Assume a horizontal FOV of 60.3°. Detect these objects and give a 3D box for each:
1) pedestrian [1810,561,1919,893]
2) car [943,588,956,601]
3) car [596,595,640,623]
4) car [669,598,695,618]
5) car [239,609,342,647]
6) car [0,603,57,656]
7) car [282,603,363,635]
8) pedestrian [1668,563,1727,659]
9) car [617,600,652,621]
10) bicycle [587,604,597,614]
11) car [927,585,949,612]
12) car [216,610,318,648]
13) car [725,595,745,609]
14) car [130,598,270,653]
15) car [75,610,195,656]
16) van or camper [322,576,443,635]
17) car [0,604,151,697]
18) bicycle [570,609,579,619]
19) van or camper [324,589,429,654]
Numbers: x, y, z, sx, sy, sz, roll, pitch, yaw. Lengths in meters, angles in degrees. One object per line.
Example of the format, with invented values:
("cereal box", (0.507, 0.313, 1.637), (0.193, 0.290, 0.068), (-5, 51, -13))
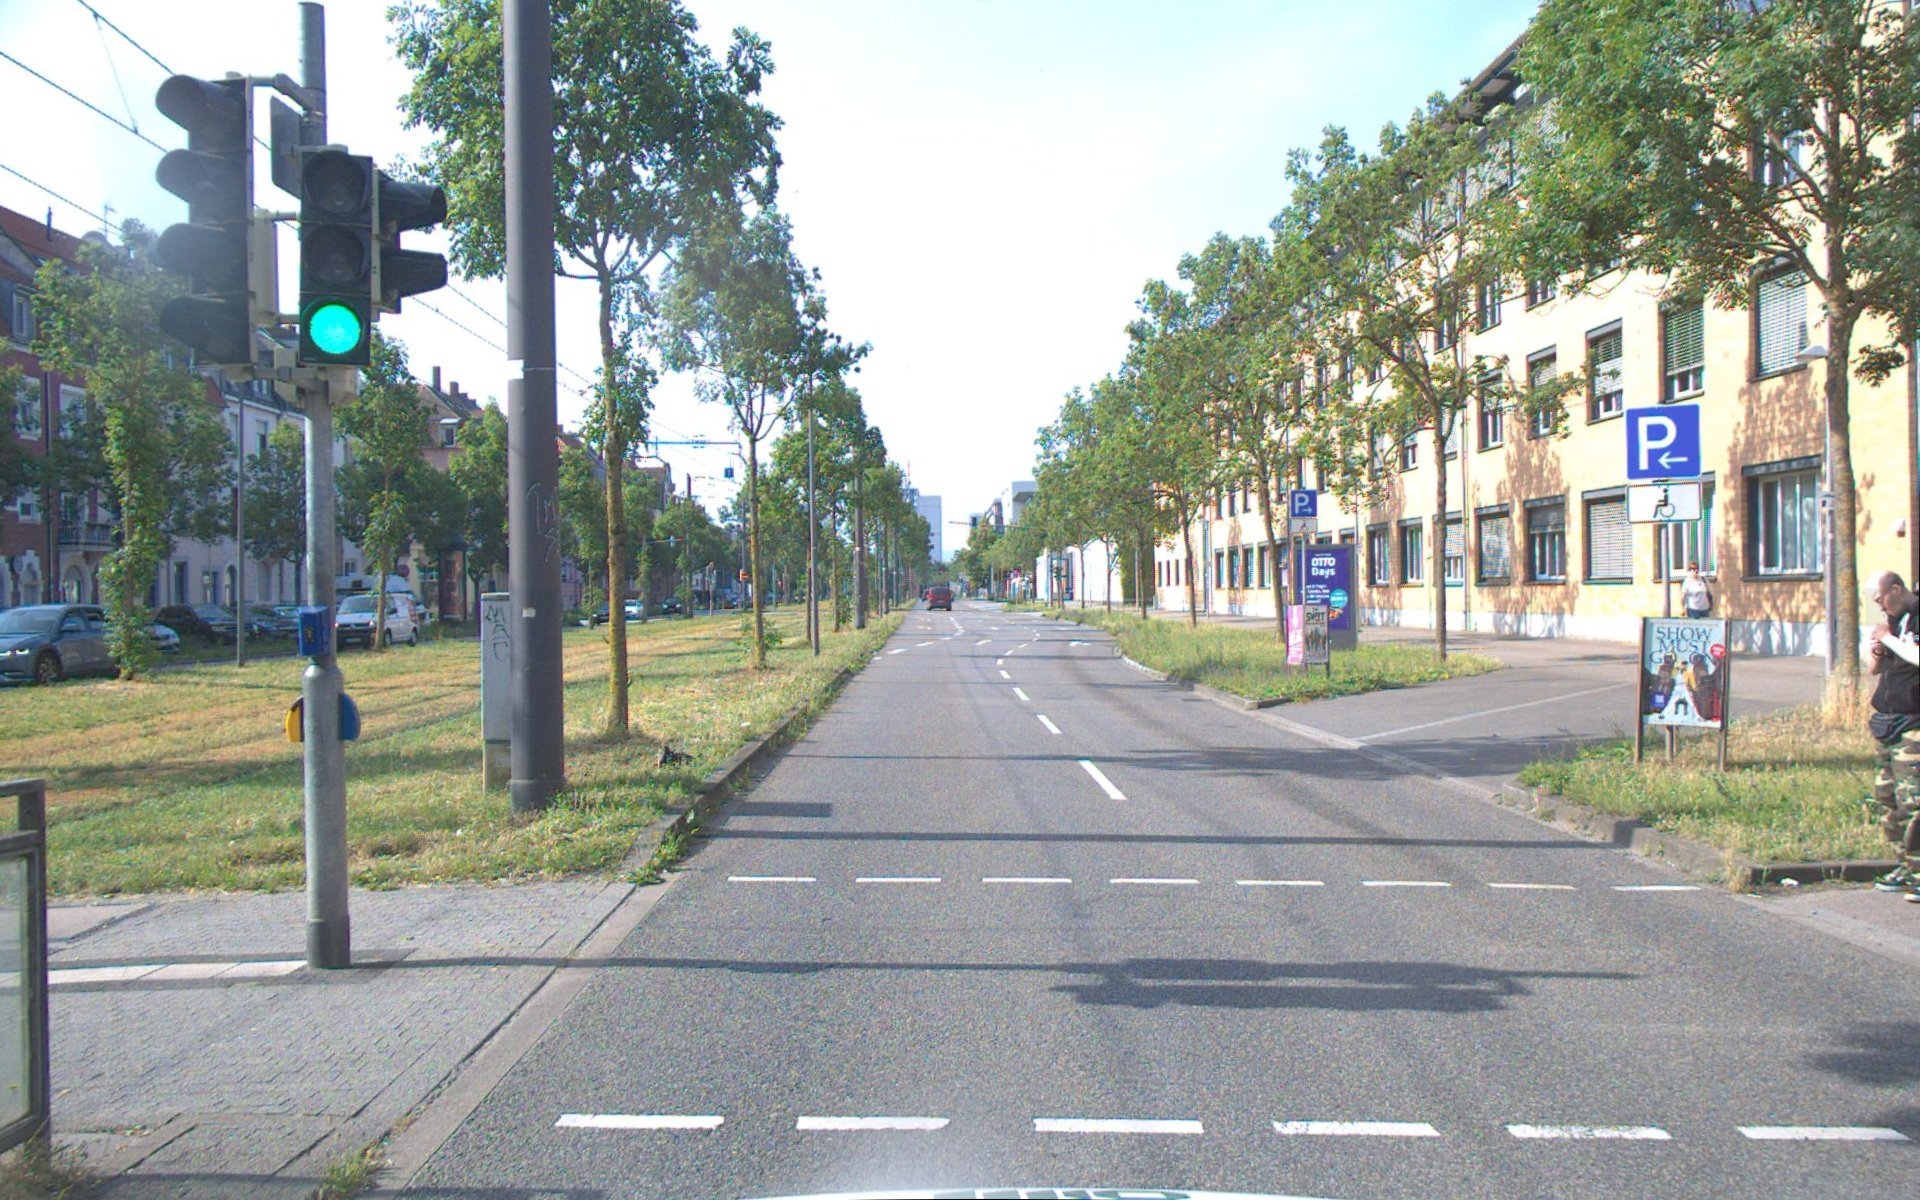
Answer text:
("pedestrian", (5.059, 0.632, 8.742), (0.691, 1.675, 0.689), (-2, 0, -4))
("car", (-1.468, -0.685, 222.373), (1.712, 1.679, 3.215), (1, 0, 0))
("car", (-21.654, 0.563, 104.822), (1.954, 1.658, 5.376), (1, 0, -4))
("car", (-24.500, 0.706, 145.956), (1.728, 1.684, 3.999), (1, 0, -1))
("car", (-25.441, 1.057, 62.830), (3.931, 1.339, 1.657), (1, -1, 33))
("car", (-25.335, 0.745, 43.212), (3.609, 1.263, 1.522), (1, 2, 33))
("car", (-27.033, 0.805, 70.144), (3.618, 1.263, 1.654), (1, -1, 40))
("pedestrian", (13.223, 0.192, 29.653), (0.682, 1.685, 0.773), (1, -1, -1))
("car", (-23.714, 0.751, 120.689), (1.909, 1.485, 4.645), (1, 0, -4))
("bicycle", (-32.642, 0.801, 146.737), (0.438, 0.872, 1.946), (1, 0, -3))
("car", (-1.723, -0.099, 132.243), (1.712, 2.049, 3.215), (1, 0, 0))
("car", (-25.097, 1.045, 59.873), (3.610, 1.263, 1.657), (1, -1, 33))
("car", (-24.889, 0.248, 183.347), (1.776, 1.458, 3.924), (1, 0, -2))
("car", (-26.037, 0.872, 56.668), (4.541, 1.773, 1.833), (-1, 0, 25))
("car", (-24.909, 0.985, 49.930), (3.610, 1.263, 1.657), (1, -1, 33))
("van or camper", (-26.783, 0.244, 76.617), (5.803, 2.618, 2.193), (1, -1, 34))
("car", (-16.943, 0.865, 30.563), (1.797, 1.560, 4.575), (1, 0, -1))
("bicycle", (-32.490, 1.160, 139.422), (0.428, 0.803, 1.946), (1, 0, -3))
("van or camper", (-20.603, 0.744, 58.610), (1.912, 2.134, 5.351), (1, 0, -2))
